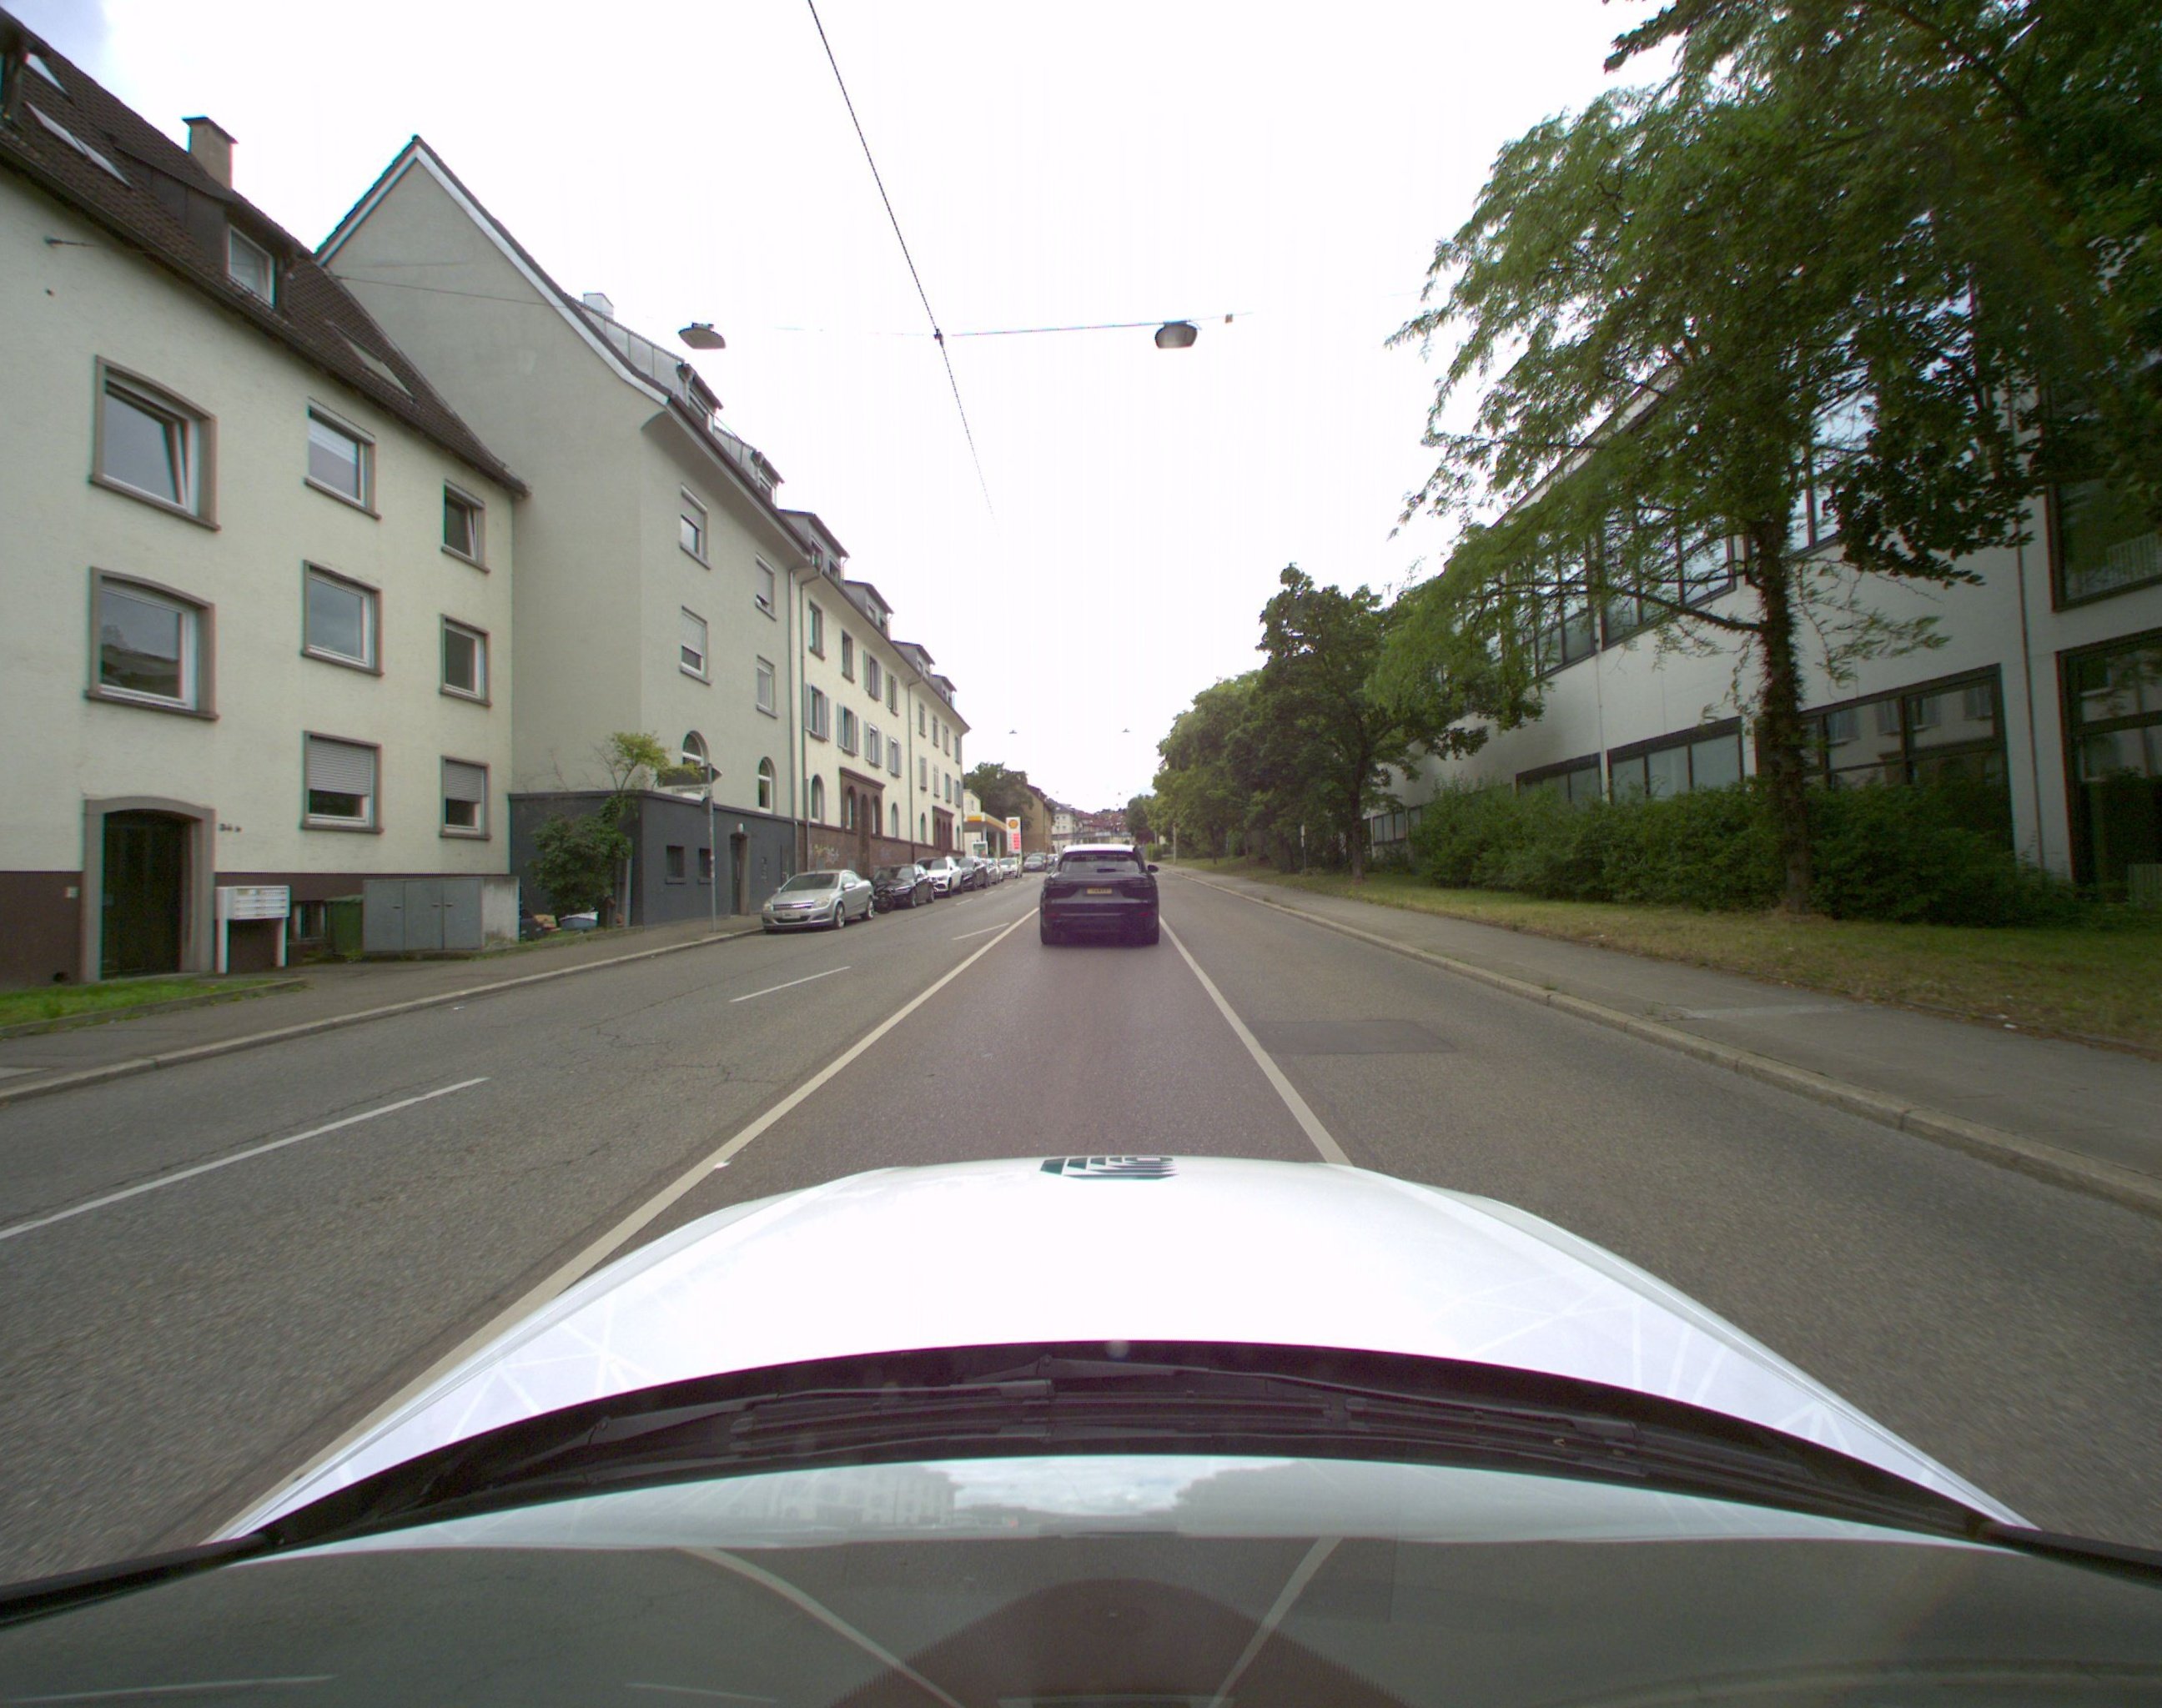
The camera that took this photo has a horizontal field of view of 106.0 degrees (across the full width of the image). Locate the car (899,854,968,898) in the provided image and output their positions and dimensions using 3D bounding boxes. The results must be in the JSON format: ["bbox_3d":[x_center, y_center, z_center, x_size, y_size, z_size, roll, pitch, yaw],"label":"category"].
[{"bbox_3d":[-6.004,0.844,33.646,1.839,1.621,4.644,-2,0,1],"label":"car"}]

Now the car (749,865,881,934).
[{"bbox_3d":[-6.397,1.029,20.104,1.721,1.374,4.338,-2,0,1],"label":"car"}]

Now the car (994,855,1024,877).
[{"bbox_3d":[-5.147,0.806,58.335,1.613,1.425,3.667,-2,0,2],"label":"car"}]

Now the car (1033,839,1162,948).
[{"bbox_3d":[0.346,0.595,14.691,1.986,1.662,4.003,-1,1,2],"label":"car"}]

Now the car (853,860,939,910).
[{"bbox_3d":[-6.071,0.964,27.228,1.720,1.429,4.193,-2,0,2],"label":"car"}]

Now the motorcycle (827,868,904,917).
[{"bbox_3d":[-6.269,1.104,23.714,2.044,1.235,0.803,-4,0,-16],"label":"motorcycle"}]

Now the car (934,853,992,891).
[{"bbox_3d":[-5.549,0.804,38.875,1.719,1.599,4.507,-2,0,4],"label":"car"}]

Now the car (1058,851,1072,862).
[{"bbox_3d":[-2.457,0.355,124.661,1.775,1.609,4.268,-4,0,3],"label":"car"}]

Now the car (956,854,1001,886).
[{"bbox_3d":[-5.512,0.817,44.144,1.721,1.558,4.083,-4,0,1],"label":"car"}]

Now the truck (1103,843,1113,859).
[{"bbox_3d":[6.269,-0.706,188.647,2.258,3.424,9.882,-2,0,2],"label":"truck"}]

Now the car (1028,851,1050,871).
[{"bbox_3d":[-4.195,0.667,82.390,1.845,1.835,4.702,-3,0,0],"label":"car"}]

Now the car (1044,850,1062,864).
[{"bbox_3d":[-3.518,0.380,102.700,1.907,1.577,4.703,-2,0,3],"label":"car"}]

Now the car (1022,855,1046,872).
[{"bbox_3d":[-4.341,0.853,76.497,1.783,1.450,4.220,-3,0,2],"label":"car"}]

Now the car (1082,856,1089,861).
[{"bbox_3d":[1.234,1.276,232.493,1.758,1.508,4.003,-2,0,3],"label":"car"}]

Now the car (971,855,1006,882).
[{"bbox_3d":[-5.548,0.861,49.080,1.541,1.475,3.605,-2,0,2],"label":"car"}]

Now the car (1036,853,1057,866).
[{"bbox_3d":[-3.942,0.590,93.734,1.789,1.431,4.749,-3,0,4],"label":"car"}]
